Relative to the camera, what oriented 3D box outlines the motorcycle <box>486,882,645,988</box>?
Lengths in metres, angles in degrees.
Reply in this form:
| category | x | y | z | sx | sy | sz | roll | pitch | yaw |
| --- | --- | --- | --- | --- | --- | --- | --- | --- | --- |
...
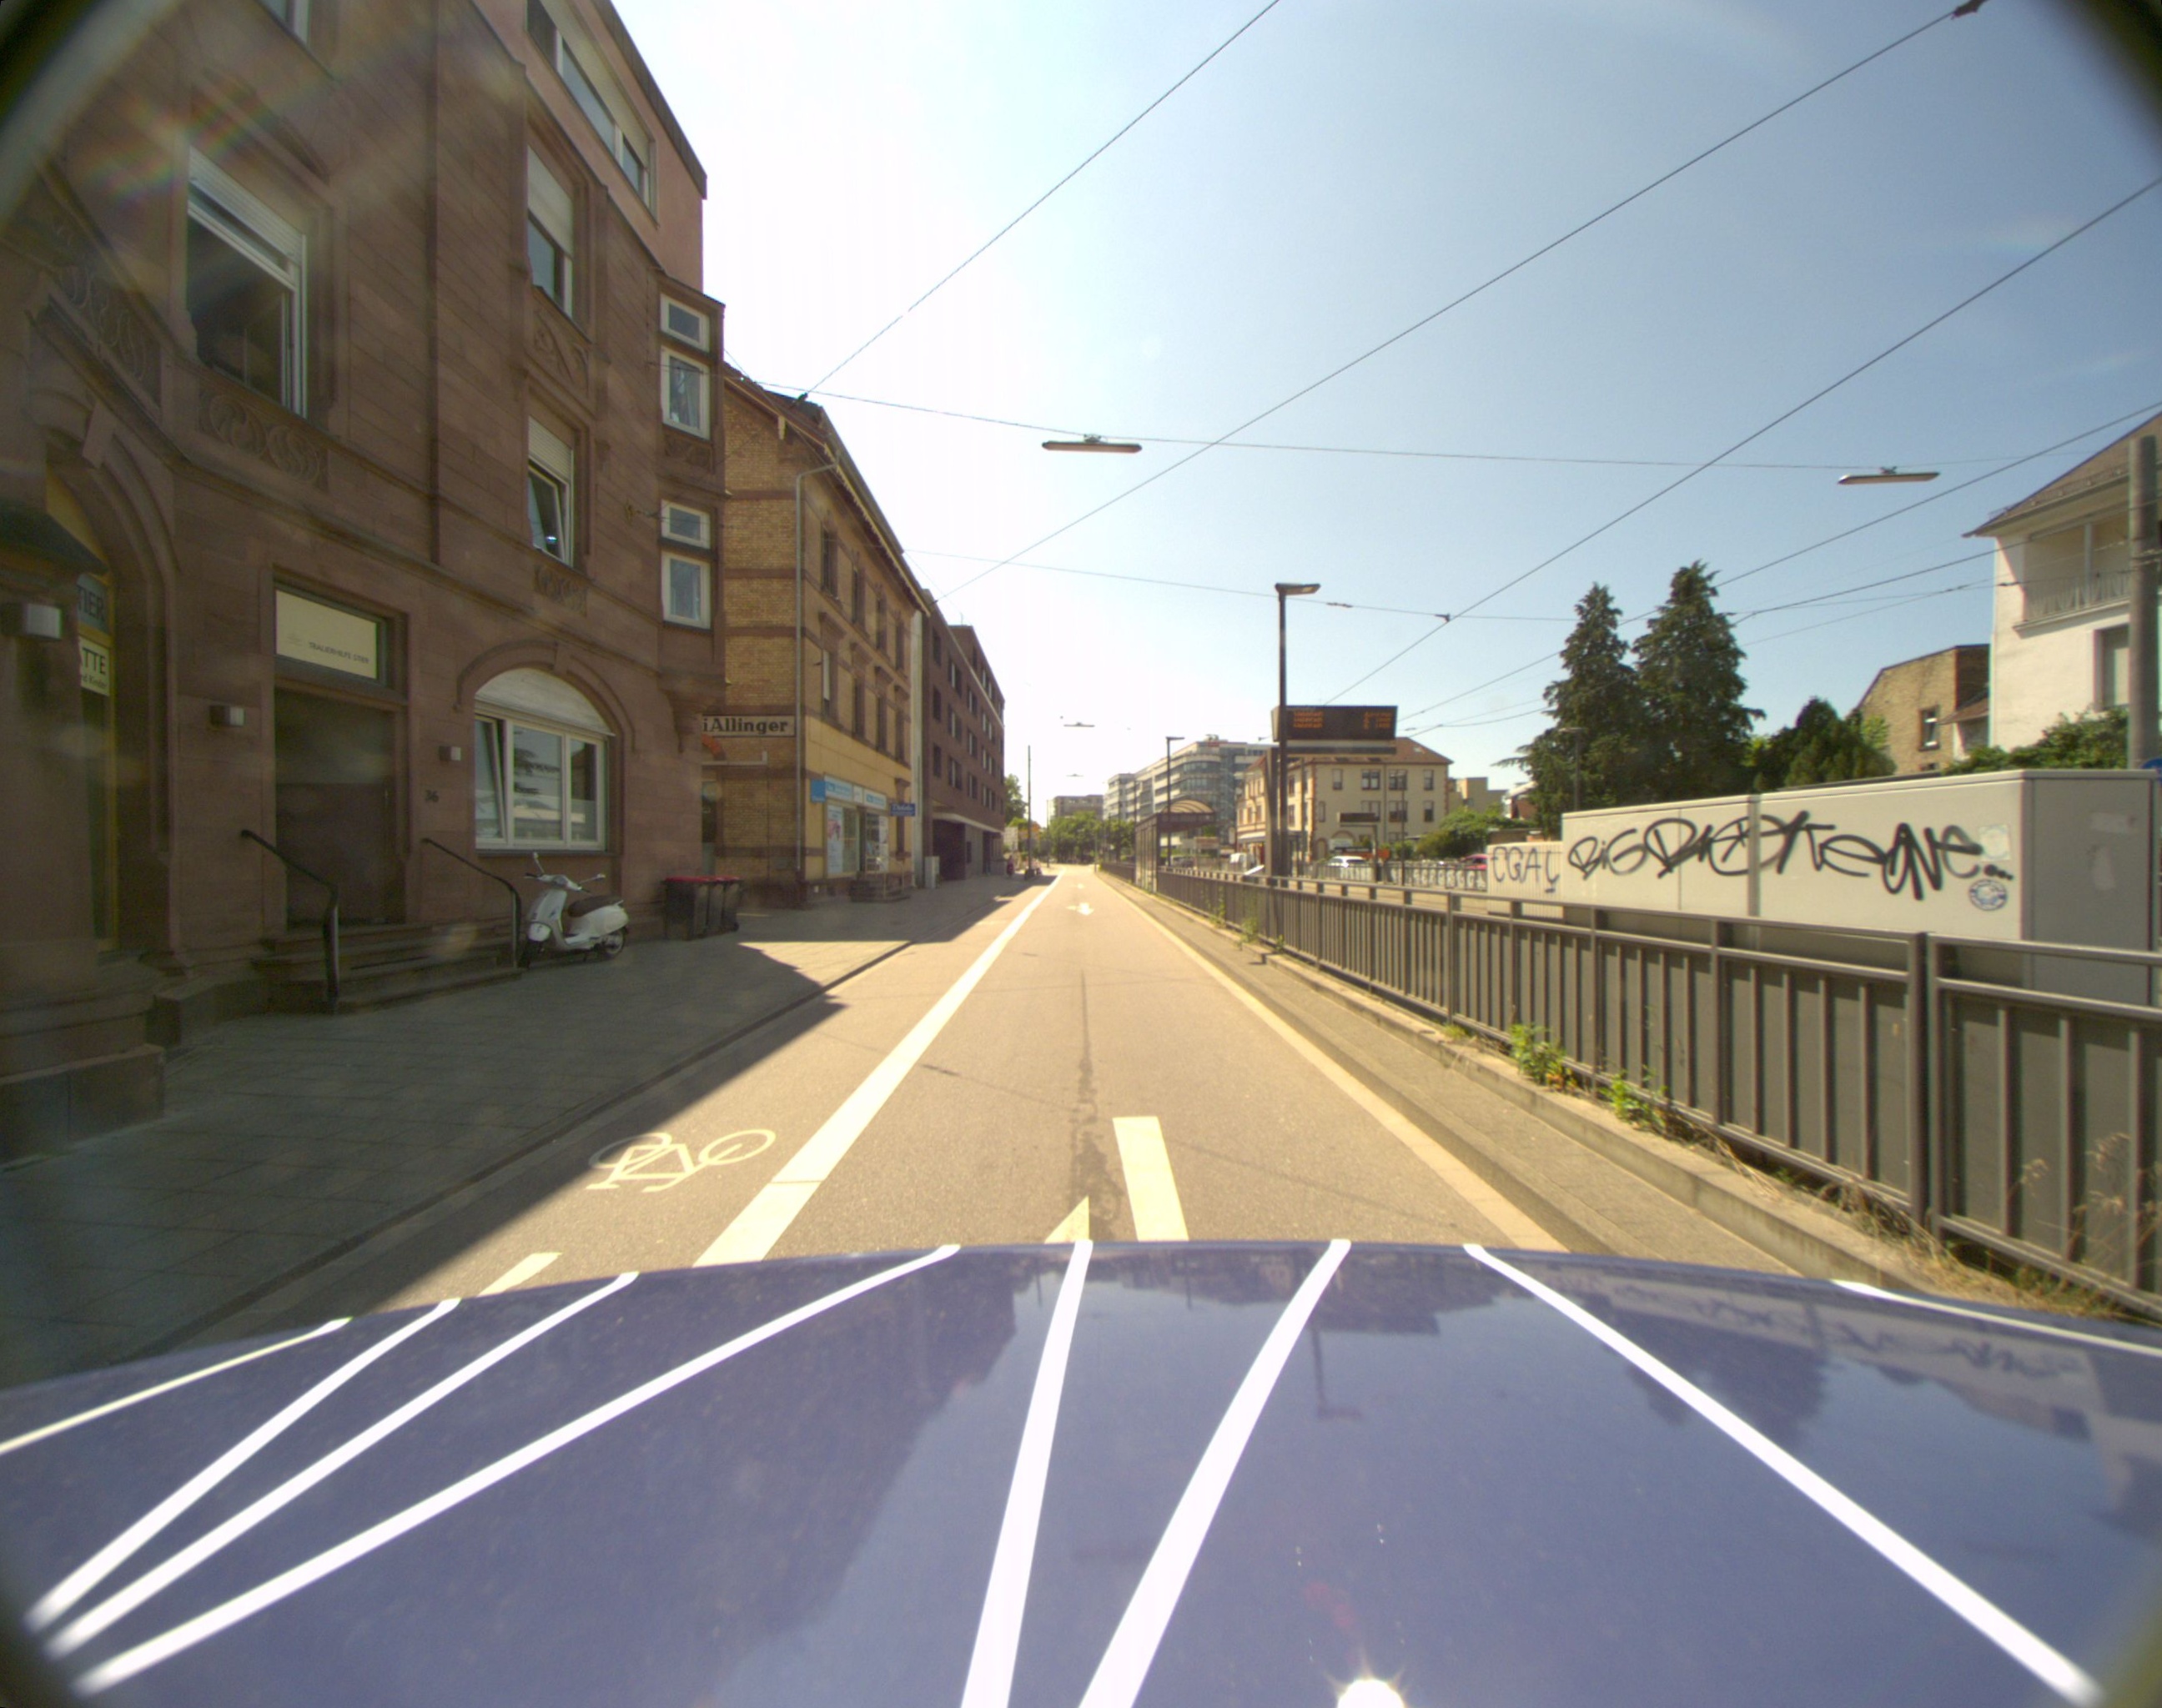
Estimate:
| category | x | y | z | sx | sy | sz | roll | pitch | yaw |
| --- | --- | --- | --- | --- | --- | --- | --- | --- | --- |
| motorcycle | -6.448 | 0.963 | 9.649 | 0.527 | 1.142 | 1.881 | 0 | 0 | 8 |

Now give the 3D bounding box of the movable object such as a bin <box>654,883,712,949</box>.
| category | x | y | z | sx | sy | sz | roll | pitch | yaw |
| --- | --- | --- | --- | --- | --- | --- | --- | --- | --- |
| movable object such as a bin | -6.682 | 1.031 | 12.785 | 0.649 | 1.042 | 0.559 | 2 | 1 | -1 |

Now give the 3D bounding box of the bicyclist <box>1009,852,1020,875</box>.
| category | x | y | z | sx | sy | sz | roll | pitch | yaw |
| --- | --- | --- | --- | --- | --- | --- | --- | --- | --- |
| bicyclist | -5.002 | 0.715 | 57.019 | 0.671 | 1.712 | 0.929 | -1 | 0 | 5 |

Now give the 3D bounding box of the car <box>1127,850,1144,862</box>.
| category | x | y | z | sx | sy | sz | roll | pitch | yaw |
| --- | --- | --- | --- | --- | --- | --- | --- | --- | --- |
| car | 8.547 | 0.325 | 119.885 | 1.999 | 1.827 | 3.998 | -1 | 0 | -5 |

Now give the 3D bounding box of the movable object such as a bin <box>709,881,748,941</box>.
| category | x | y | z | sx | sy | sz | roll | pitch | yaw |
| --- | --- | --- | --- | --- | --- | --- | --- | --- | --- |
| movable object such as a bin | -6.462 | 1.039 | 13.954 | 0.376 | 1.042 | 0.657 | 2 | 0 | 0 |

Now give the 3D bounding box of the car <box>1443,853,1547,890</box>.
| category | x | y | z | sx | sy | sz | roll | pitch | yaw |
| --- | --- | --- | --- | --- | --- | --- | --- | --- | --- |
| car | 16.561 | 0.656 | 30.648 | 1.823 | 1.387 | 4.174 | 1 | 0 | -2 |

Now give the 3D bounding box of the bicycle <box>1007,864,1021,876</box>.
| category | x | y | z | sx | sy | sz | roll | pitch | yaw |
| --- | --- | --- | --- | --- | --- | --- | --- | --- | --- |
| bicycle | -5.012 | 1.190 | 56.900 | 0.689 | 0.793 | 1.908 | -1 | 0 | 4 |

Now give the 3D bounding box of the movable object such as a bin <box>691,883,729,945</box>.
| category | x | y | z | sx | sy | sz | roll | pitch | yaw |
| --- | --- | --- | --- | --- | --- | --- | --- | --- | --- |
| movable object such as a bin | -6.522 | 1.049 | 13.362 | 0.376 | 1.042 | 0.559 | 2 | 1 | 0 |

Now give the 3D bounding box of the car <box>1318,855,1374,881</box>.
| category | x | y | z | sx | sy | sz | roll | pitch | yaw |
| --- | --- | --- | --- | --- | --- | --- | --- | --- | --- |
| car | 16.048 | 0.820 | 46.231 | 1.822 | 1.459 | 4.623 | 1 | 0 | 0 |

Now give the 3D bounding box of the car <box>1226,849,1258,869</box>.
| category | x | y | z | sx | sy | sz | roll | pitch | yaw |
| --- | --- | --- | --- | --- | --- | --- | --- | --- | --- |
| car | 15.440 | 0.444 | 73.178 | 1.861 | 1.806 | 4.696 | 1 | 0 | -4 |
